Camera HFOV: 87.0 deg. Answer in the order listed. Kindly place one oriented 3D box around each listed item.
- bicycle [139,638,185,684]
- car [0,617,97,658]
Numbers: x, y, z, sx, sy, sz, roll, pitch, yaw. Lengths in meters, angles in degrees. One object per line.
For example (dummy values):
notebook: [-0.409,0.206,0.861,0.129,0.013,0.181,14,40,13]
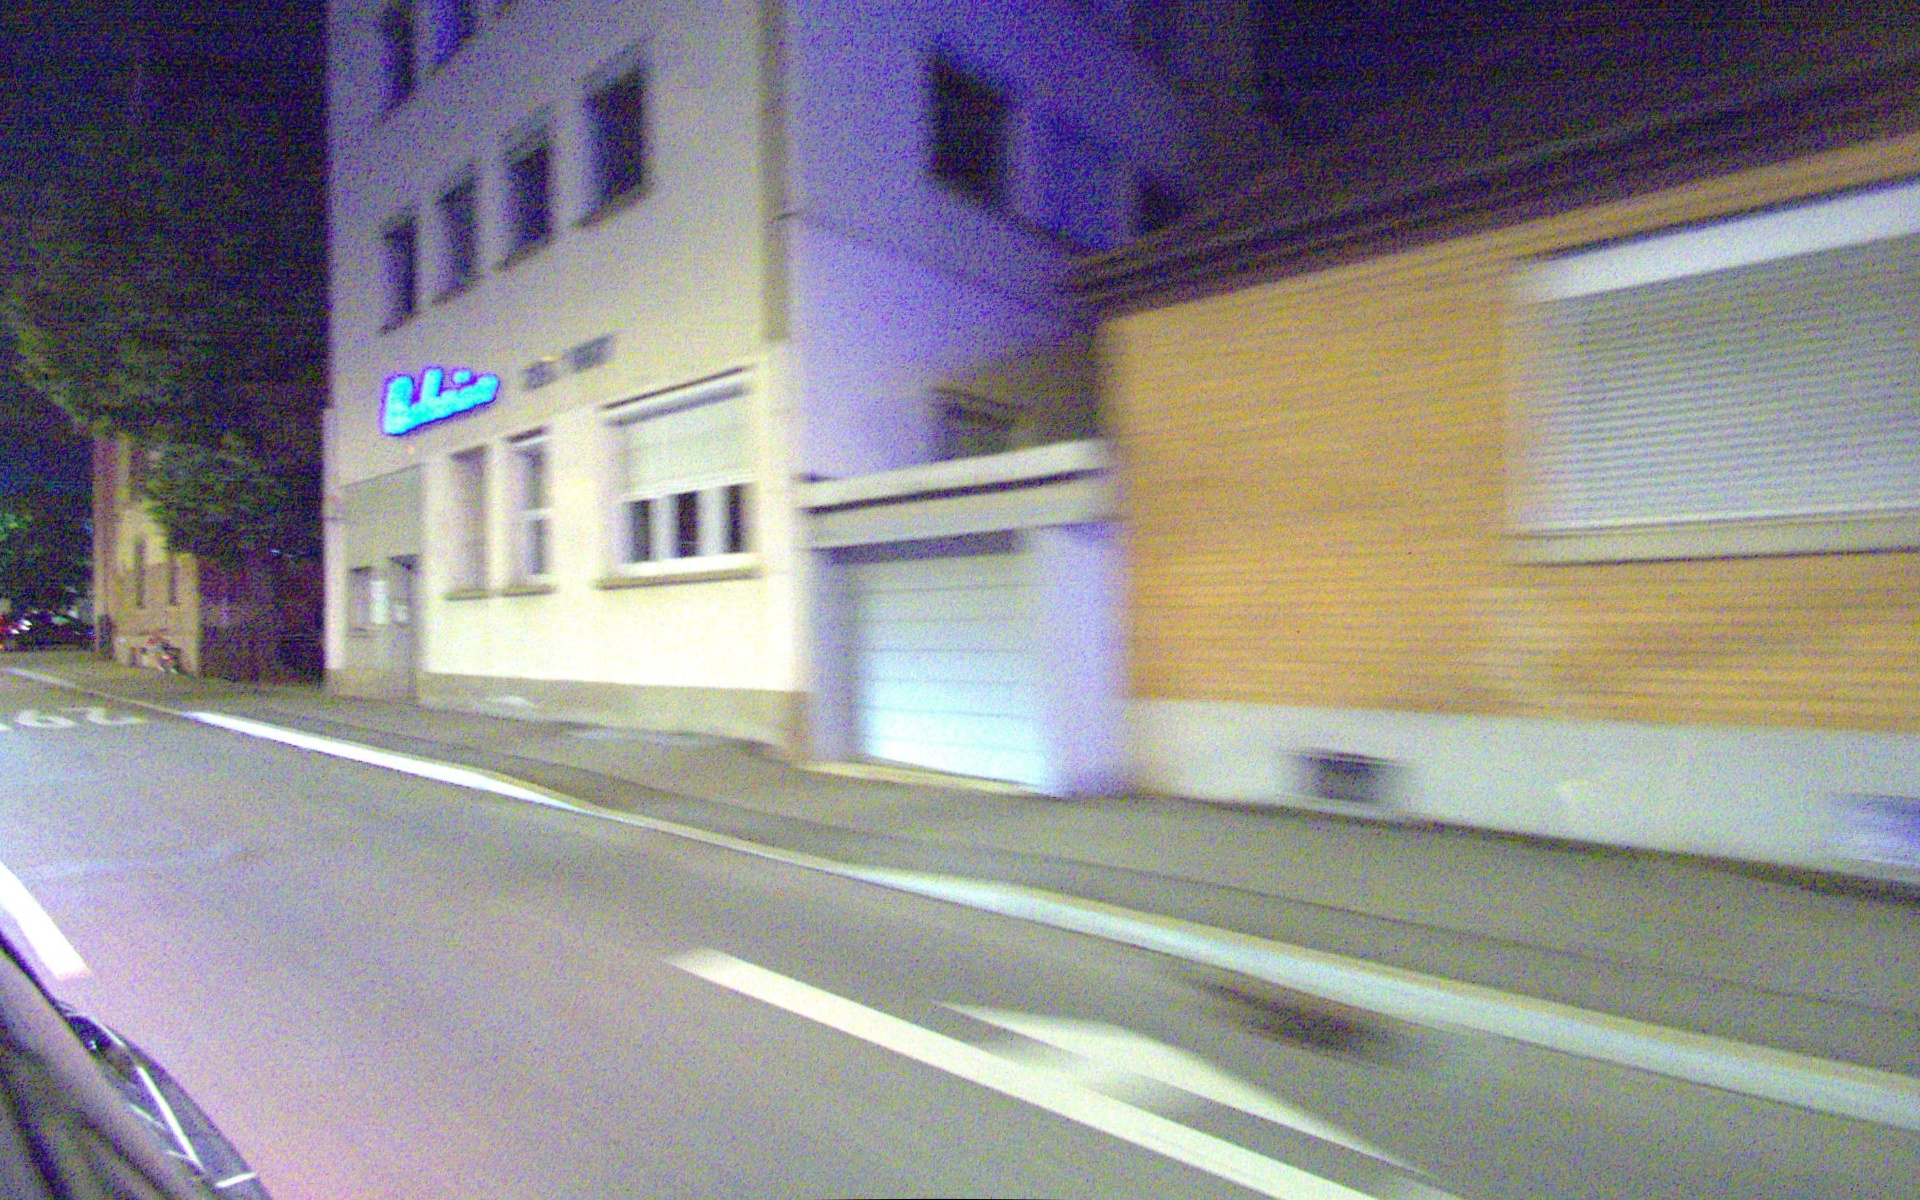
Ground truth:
bicycle: [-19.706,1.481,24.972,1.721,1.059,0.613,-1,-1,42]
car: [-44.634,1.788,49.212,3.934,1.903,1.913,0,-1,-36]
